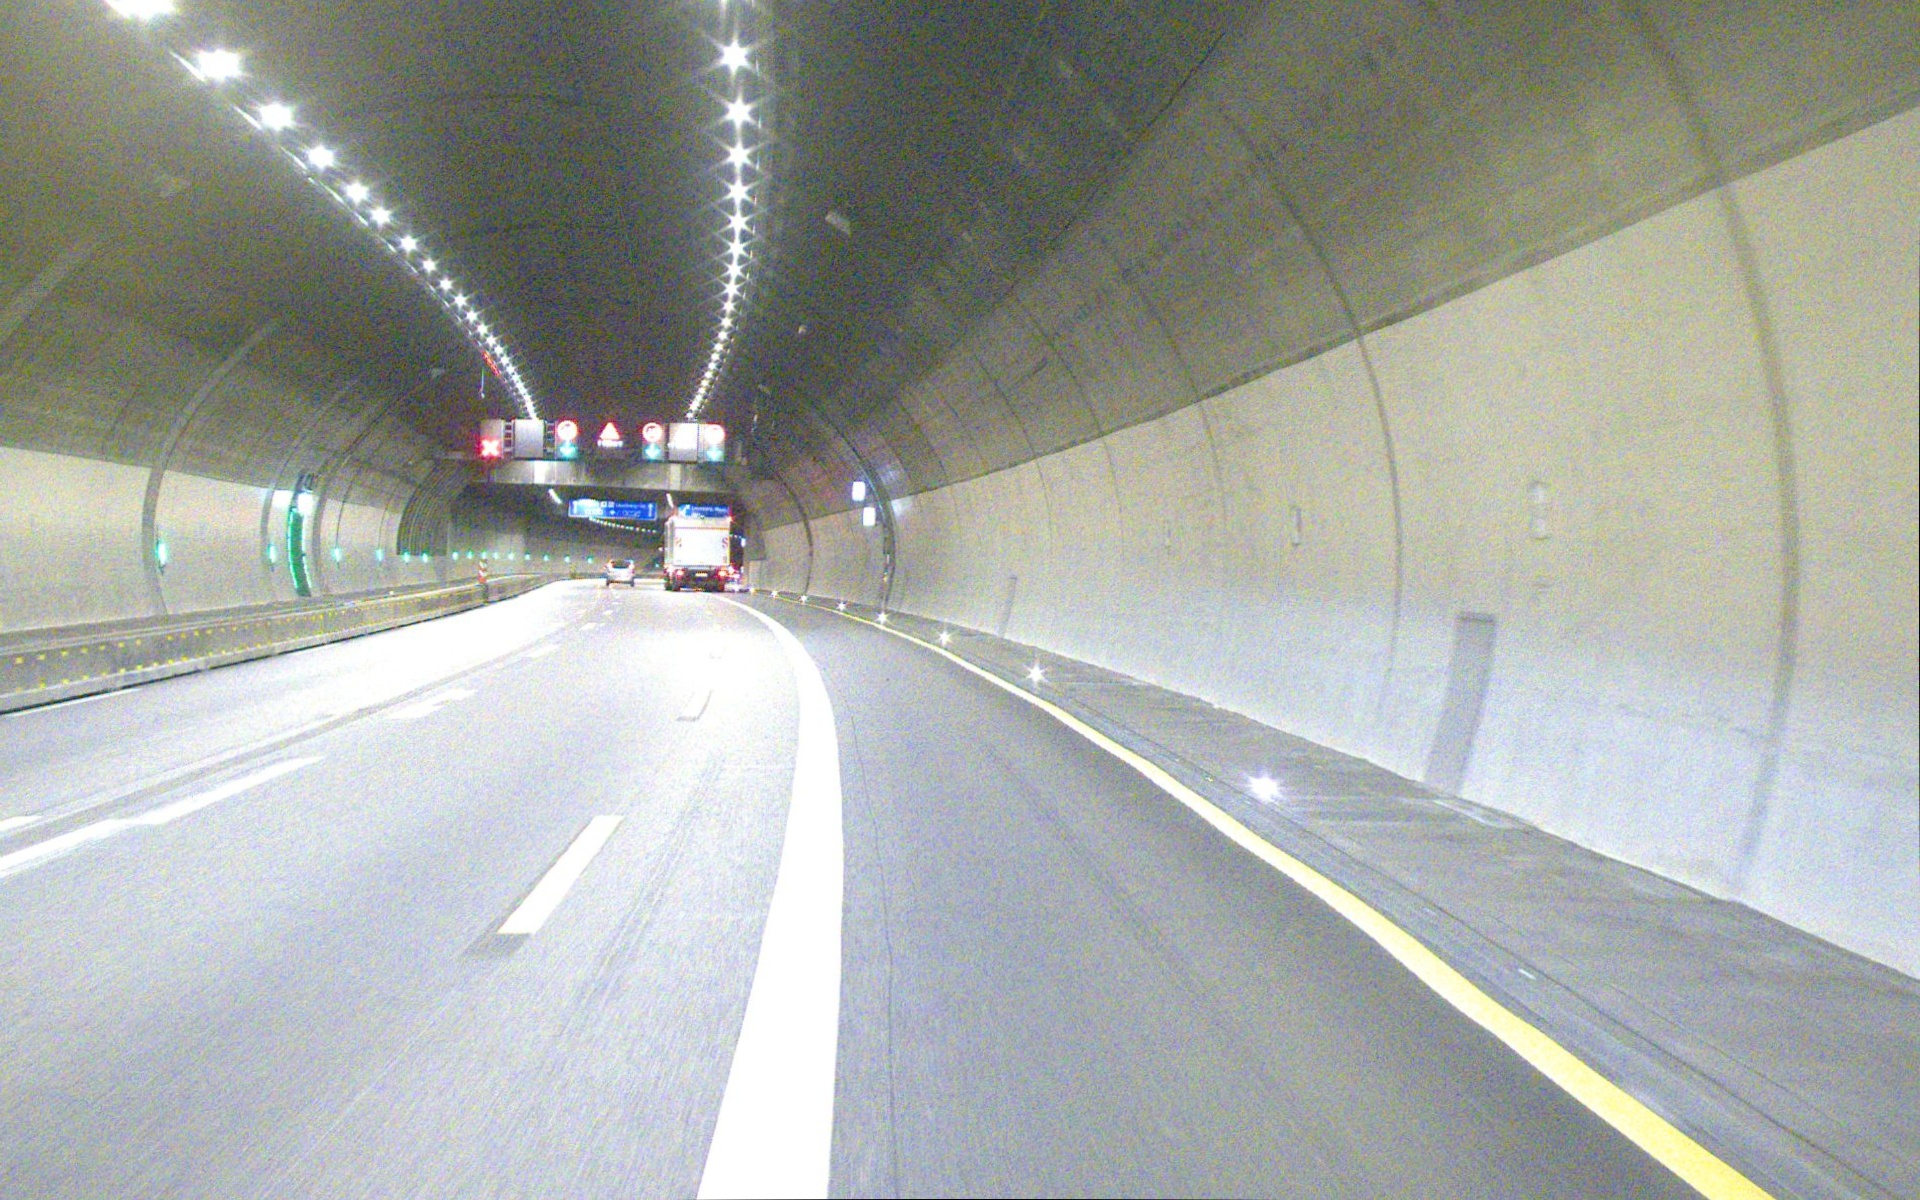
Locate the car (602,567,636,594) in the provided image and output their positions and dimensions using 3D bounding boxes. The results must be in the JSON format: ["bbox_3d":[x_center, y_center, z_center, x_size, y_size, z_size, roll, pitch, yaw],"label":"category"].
[{"bbox_3d":[-20.179,-1.172,203.322,1.993,1.576,4.001,0,1,-6],"label":"car"}]

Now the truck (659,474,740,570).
[{"bbox_3d":[-12.167,-3.627,159.813,3.473,4.301,10.954,0,1,-6],"label":"truck"}]
